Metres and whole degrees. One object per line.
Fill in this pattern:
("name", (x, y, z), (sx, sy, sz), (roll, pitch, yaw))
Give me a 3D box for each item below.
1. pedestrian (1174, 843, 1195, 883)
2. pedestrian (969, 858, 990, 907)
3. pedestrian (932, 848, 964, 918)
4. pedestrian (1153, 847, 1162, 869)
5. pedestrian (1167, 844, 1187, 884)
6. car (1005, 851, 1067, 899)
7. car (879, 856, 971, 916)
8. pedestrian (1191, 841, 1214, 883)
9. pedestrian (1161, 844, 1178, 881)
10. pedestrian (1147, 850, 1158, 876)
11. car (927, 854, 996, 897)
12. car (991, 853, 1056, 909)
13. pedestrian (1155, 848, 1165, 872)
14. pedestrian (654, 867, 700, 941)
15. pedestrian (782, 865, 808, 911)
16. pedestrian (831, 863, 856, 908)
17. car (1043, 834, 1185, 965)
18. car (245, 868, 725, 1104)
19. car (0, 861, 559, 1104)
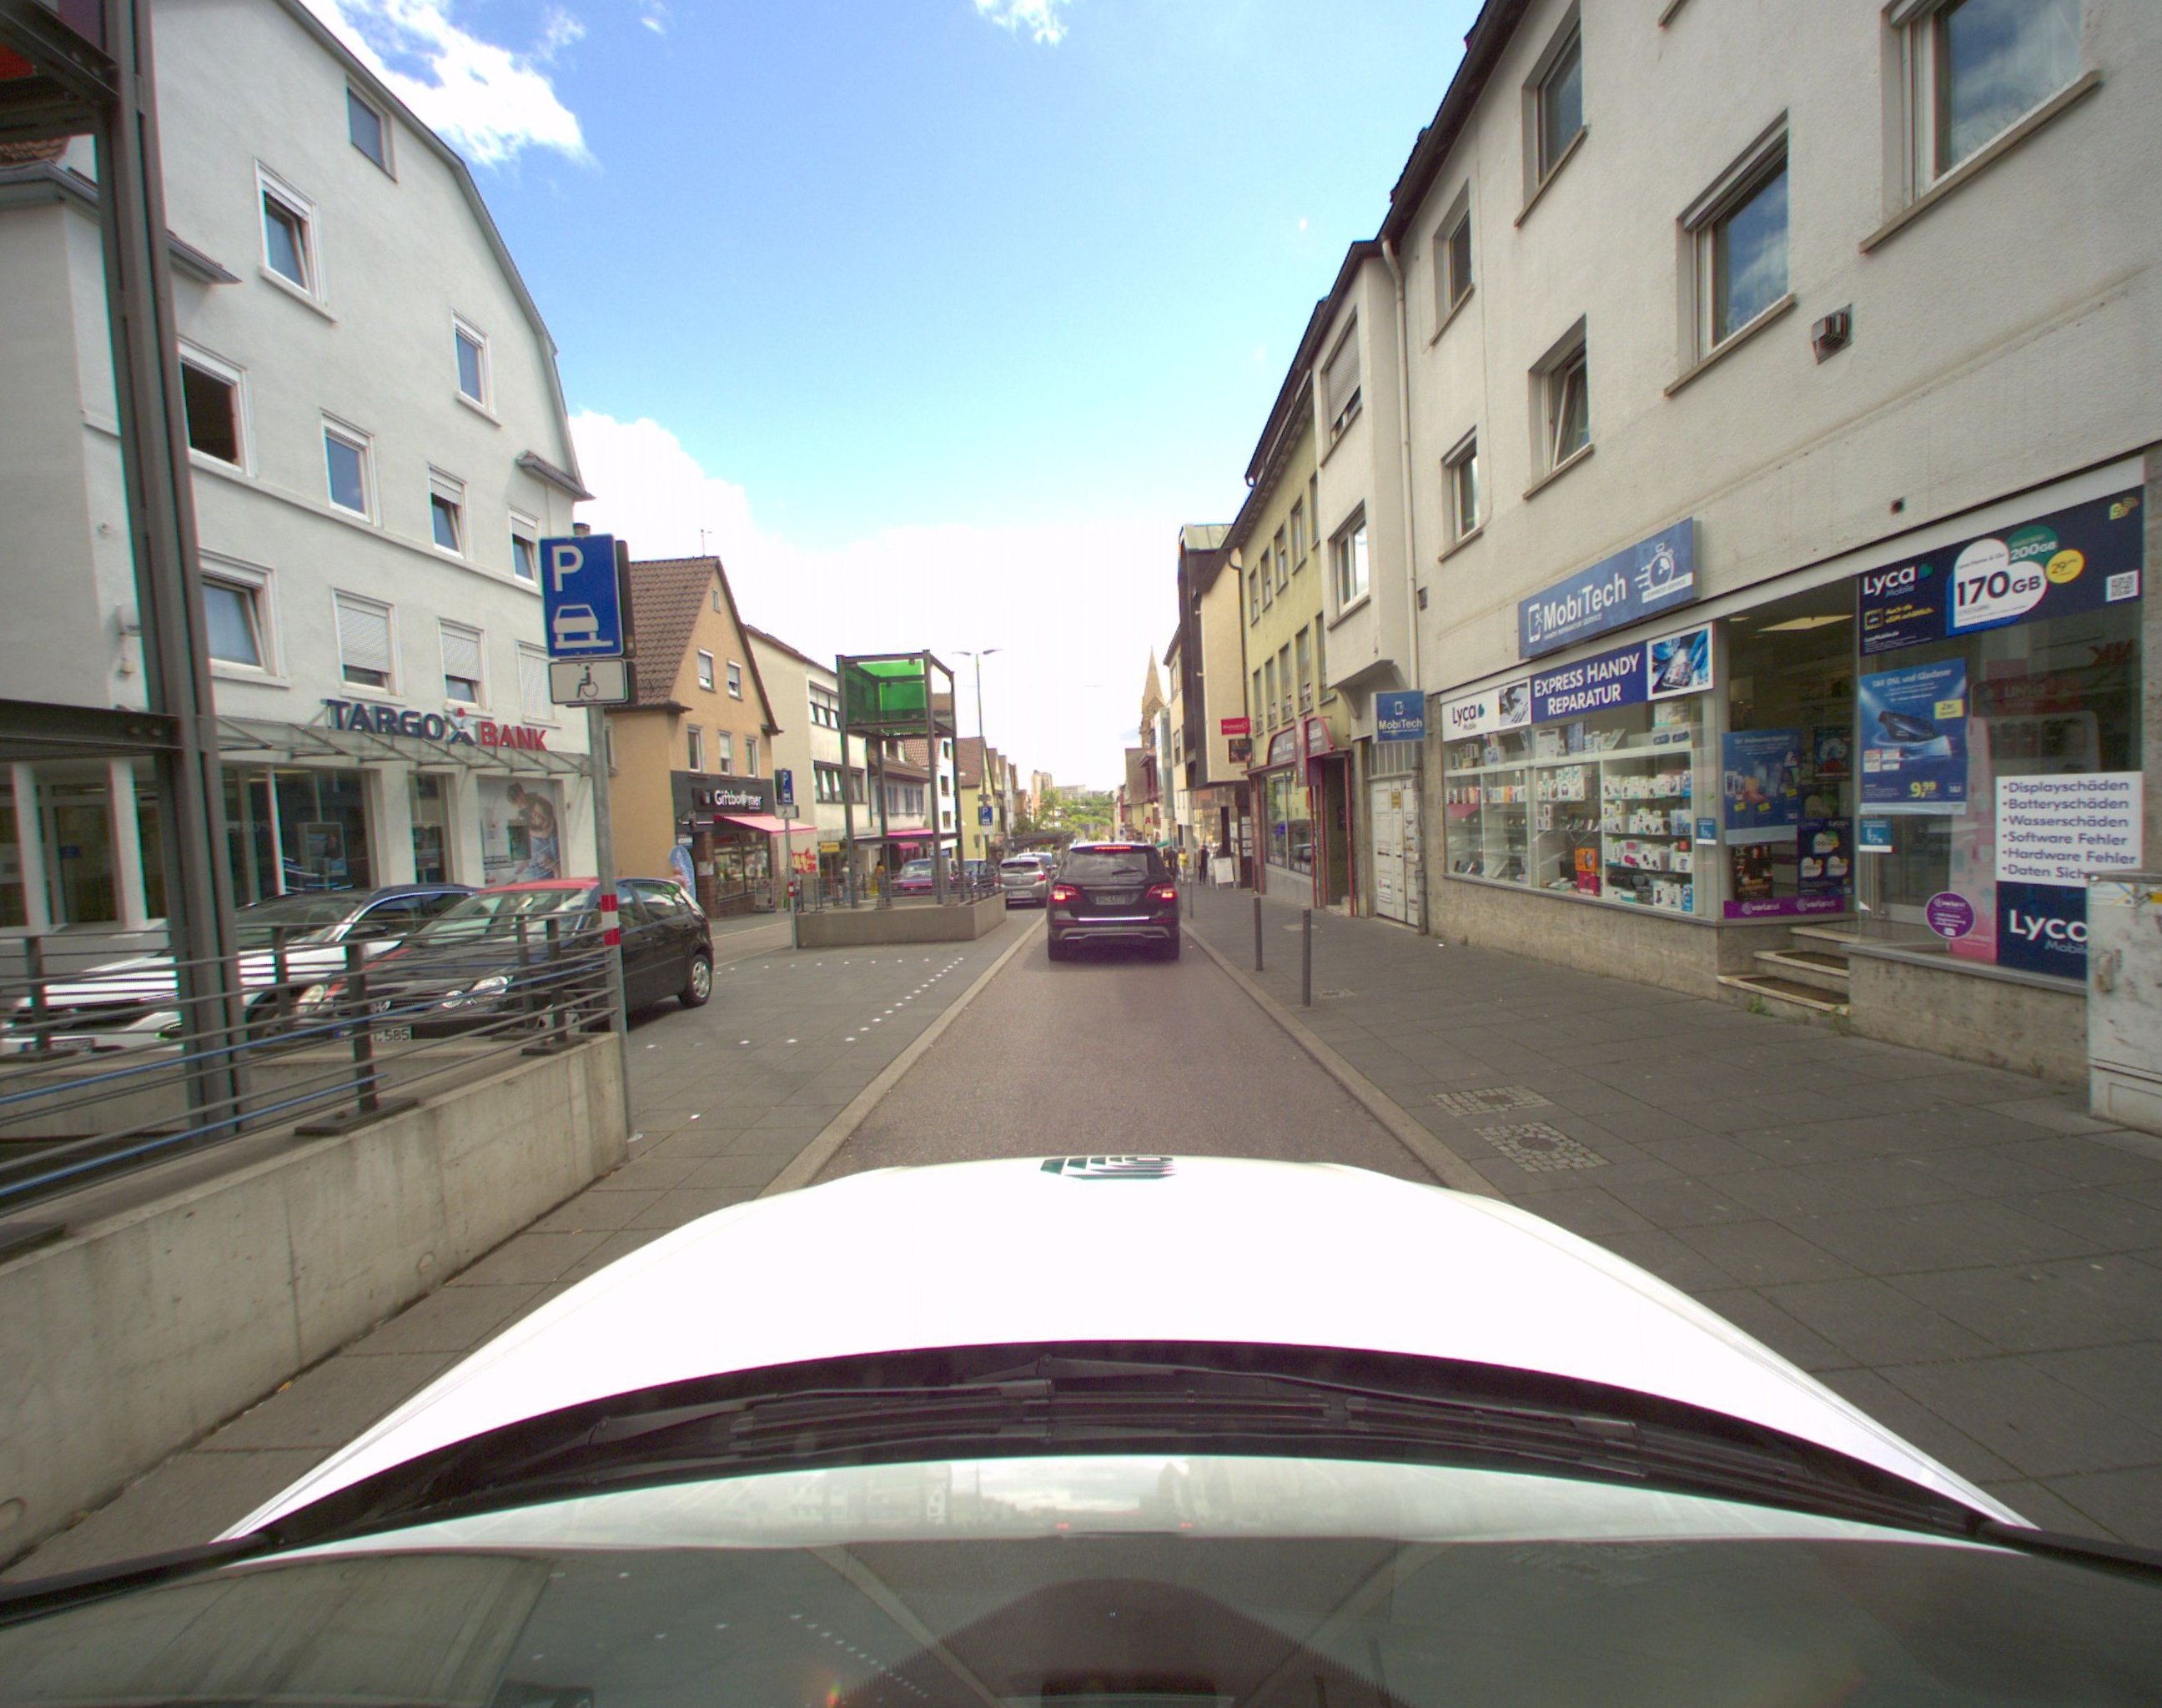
("pedestrian", (4.392, 0.377, 34.599), (0.708, 1.631, 0.835), (-4, 0, 1))
("pedestrian", (-3.061, 0.864, 24.692), (0.465, 1.431, 0.492), (-4, 0, 1))
("pedestrian", (-3.290, 0.693, 20.143), (0.531, 1.672, 0.902), (-2, 0, 4))
("pedestrian", (5.774, 0.314, 61.857), (0.572, 1.689, 0.565), (-1, -1, -5))
("pedestrian", (4.310, 0.448, 36.546), (0.708, 1.753, 0.785), (-4, 0, 1))
("car", (-1.604, 0.721, 30.431), (1.949, 1.639, 4.315), (-1, 0, 1))
("car", (-4.380, 0.845, 23.510), (1.733, 1.543, 4.194), (-1, 0, 1))
("pedestrian", (5.075, 0.324, 34.041), (0.662, 1.689, 0.542), (-6, 0, -5))
("pedestrian", (4.281, 0.406, 39.439), (0.708, 1.753, 0.787), (-2, 0, 1))
("pedestrian", (4.668, 0.571, 53.298), (0.620, 1.689, 0.565), (-1, -1, -5))
("car", (-4.367, 0.750, 30.251), (1.731, 1.475, 3.888), (0, 1, 4))
("car", (-1.660, 0.768, 24.697), (1.614, 1.532, 3.671), (-1, 0, 1))
("pedestrian", (5.887, 0.447, 60.948), (0.572, 1.689, 0.565), (-4, 0, -5))
("pedestrian", (-9.616, 1.168, 19.415), (0.637, 1.689, 0.827), (-2, 0, -1))
("pedestrian", (-10.258, 1.212, 29.213), (0.563, 1.573, 0.717), (-4, 0, 1))
("pedestrian", (-9.181, 1.216, 31.489), (0.638, 1.689, 0.670), (-2, -1, 41))
("car", (0.437, 0.626, 13.016), (1.895, 1.747, 3.999), (-1, 0, -1))
("car", (-4.851, 0.919, 7.414), (1.564, 1.475, 3.853), (-2, 0, -2))
("car", (-7.391, 0.969, 7.958), (1.674, 1.571, 4.123), (-8, 0, 1))
